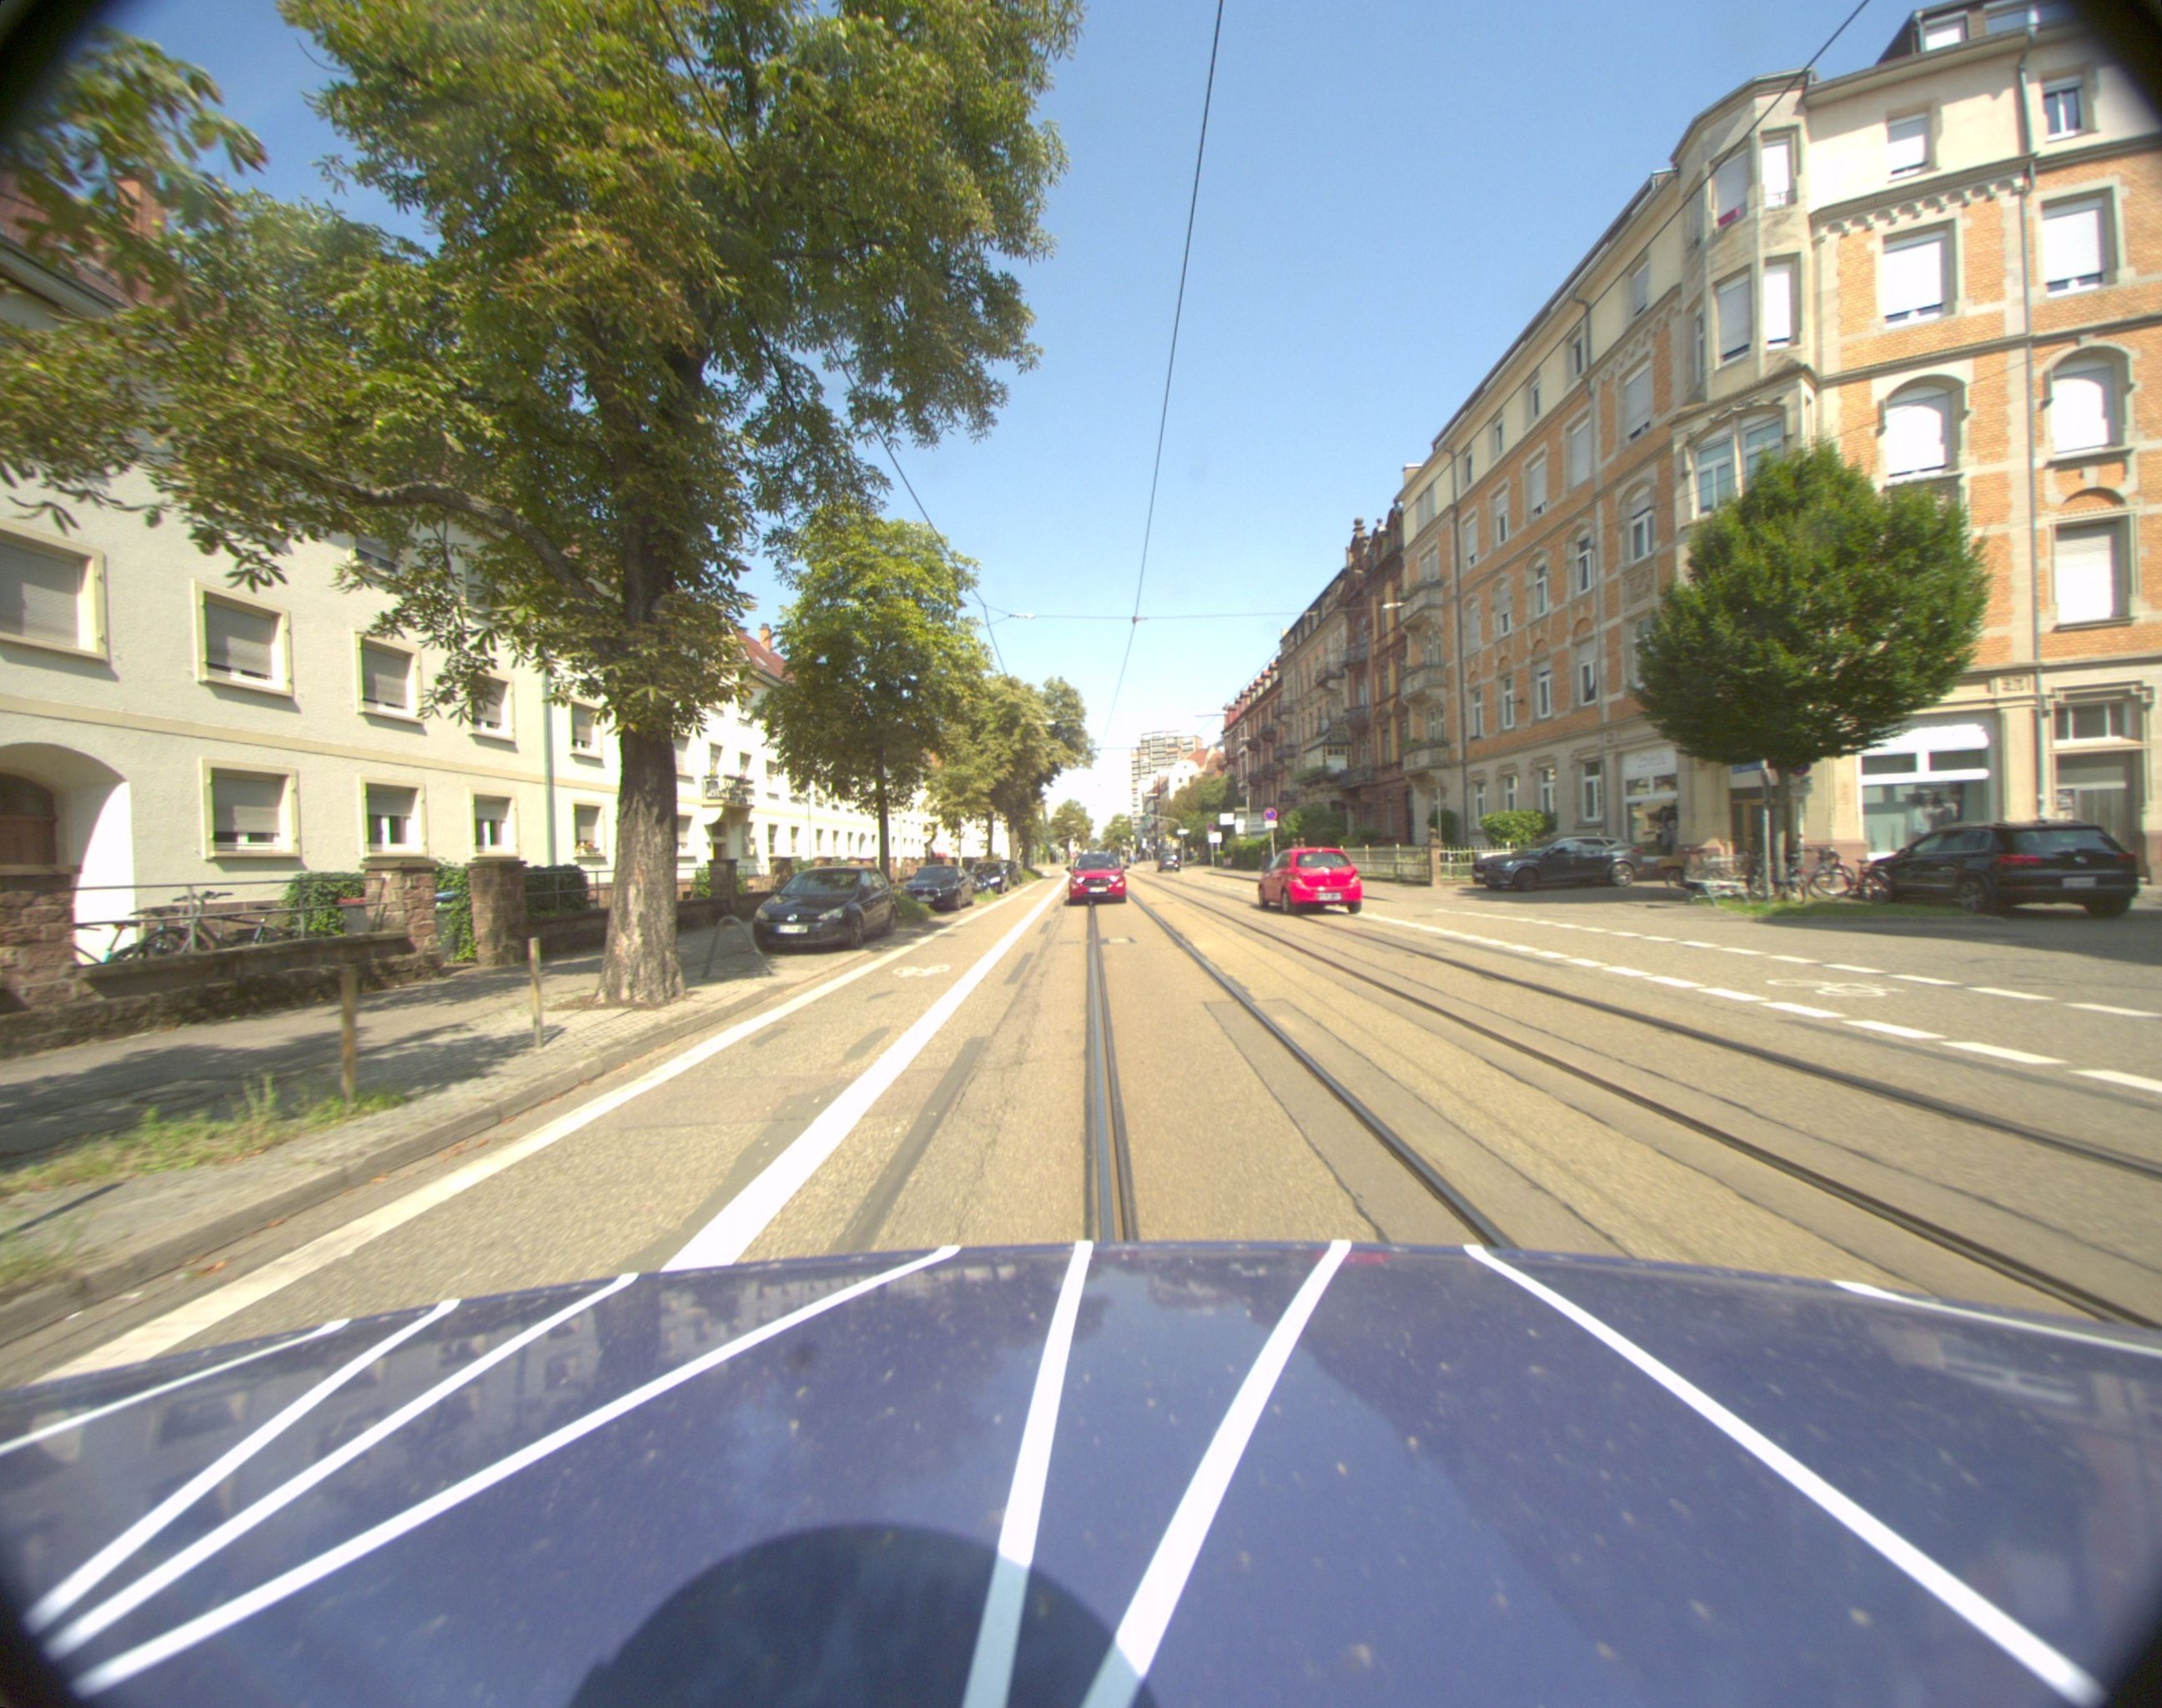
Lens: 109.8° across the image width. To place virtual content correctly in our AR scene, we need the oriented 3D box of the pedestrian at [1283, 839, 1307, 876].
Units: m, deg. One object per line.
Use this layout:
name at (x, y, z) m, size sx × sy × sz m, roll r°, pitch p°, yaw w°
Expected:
pedestrian at (10.546, 0.168, 37.442) m, size 0.885 × 1.746 × 0.870 m, roll -2°, pitch 1°, yaw 1°

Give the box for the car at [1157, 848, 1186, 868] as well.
car at (7.184, 0.330, 60.806) m, size 1.831 × 1.531 × 4.000 m, roll -1°, pitch 0°, yaw 0°

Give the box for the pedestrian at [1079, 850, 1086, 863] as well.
pedestrian at (0.164, 0.394, 108.355) m, size 0.676 × 1.874 × 0.921 m, roll -2°, pitch 1°, yaw -19°

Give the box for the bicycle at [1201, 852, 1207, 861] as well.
bicycle at (13.304, 0.251, 82.136) m, size 0.488 × 0.936 × 1.657 m, roll -2°, pitch 0°, yaw 4°

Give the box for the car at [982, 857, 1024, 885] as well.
car at (-4.481, 0.939, 43.858) m, size 1.620 × 1.521 × 3.500 m, roll -1°, pitch 1°, yaw 7°

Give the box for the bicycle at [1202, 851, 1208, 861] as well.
bicycle at (13.112, 0.229, 80.349) m, size 0.488 × 0.980 × 1.657 m, roll -2°, pitch 0°, yaw 4°

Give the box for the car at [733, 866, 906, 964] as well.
car at (-4.770, 1.035, 14.607) m, size 1.760 × 1.468 × 4.386 m, roll -2°, pitch 0°, yaw 0°

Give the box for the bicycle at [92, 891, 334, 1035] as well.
bicycle at (-9.585, 1.130, 8.522) m, size 0.457 × 1.325 × 1.892 m, roll -2°, pitch 1°, yaw 1°

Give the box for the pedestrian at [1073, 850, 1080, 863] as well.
pedestrian at (-0.677, 0.331, 114.419) m, size 0.674 × 1.874 × 0.923 m, roll -2°, pitch 0°, yaw 11°

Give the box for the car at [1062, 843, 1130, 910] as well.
car at (0.506, 0.645, 23.398) m, size 1.802 × 1.801 × 4.417 m, roll -3°, pitch 0°, yaw 2°

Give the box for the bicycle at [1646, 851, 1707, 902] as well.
bicycle at (13.594, 0.504, 17.353) m, size 1.453 × 1.092 × 0.390 m, roll -3°, pitch 0°, yaw -22°

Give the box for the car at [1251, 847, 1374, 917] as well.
car at (5.418, 0.600, 18.342) m, size 1.736 × 1.481 × 4.000 m, roll -1°, pitch 0°, yaw 0°

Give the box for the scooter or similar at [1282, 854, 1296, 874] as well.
scooter or similar at (10.358, 0.504, 37.831) m, size 0.401 × 0.977 × 0.584 m, roll -3°, pitch 1°, yaw -7°

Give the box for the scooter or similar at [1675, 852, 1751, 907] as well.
scooter or similar at (13.291, 0.520, 16.018) m, size 0.597 × 1.092 × 1.390 m, roll -3°, pitch 0°, yaw 11°

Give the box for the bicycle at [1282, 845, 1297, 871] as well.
bicycle at (11.586, 0.231, 42.217) m, size 0.391 × 1.397 × 1.582 m, roll -2°, pitch 0°, yaw 2°

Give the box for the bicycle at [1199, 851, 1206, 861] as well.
bicycle at (13.597, 0.216, 85.016) m, size 0.488 × 1.015 × 1.778 m, roll -2°, pitch 0°, yaw 4°

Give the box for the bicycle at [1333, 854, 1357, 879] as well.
bicycle at (11.364, 0.539, 32.715) m, size 0.391 × 1.032 × 1.833 m, roll -2°, pitch 0°, yaw 2°

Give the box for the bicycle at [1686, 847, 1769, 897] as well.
bicycle at (15.069, 0.415, 17.731) m, size 1.449 × 1.092 × 0.391 m, roll -3°, pitch 0°, yaw 12°

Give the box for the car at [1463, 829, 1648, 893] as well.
car at (13.604, 0.187, 21.987) m, size 4.111 × 1.585 × 1.879 m, roll -3°, pitch 1°, yaw 2°

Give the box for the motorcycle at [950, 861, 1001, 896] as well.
motorcycle at (-4.395, 1.026, 31.810) m, size 2.009 × 1.360 × 0.782 m, roll -2°, pitch 1°, yaw -2°

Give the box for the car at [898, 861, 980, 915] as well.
car at (-4.555, 1.044, 25.056) m, size 1.760 × 1.469 × 4.457 m, roll 1°, pitch 1°, yaw 1°

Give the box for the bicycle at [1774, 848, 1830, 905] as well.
bicycle at (14.747, 0.437, 15.575) m, size 0.389 × 1.092 × 1.454 m, roll -2°, pitch 0°, yaw 26°

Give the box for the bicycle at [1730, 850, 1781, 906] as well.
bicycle at (14.143, 0.482, 15.958) m, size 0.389 × 1.092 × 1.454 m, roll -2°, pitch 0°, yaw 26°

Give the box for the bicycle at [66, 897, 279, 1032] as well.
bicycle at (-10.042, 1.166, 8.488) m, size 0.403 × 1.250 × 1.580 m, roll -2°, pitch 1°, yaw 1°

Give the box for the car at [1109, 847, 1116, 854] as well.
car at (8.902, -1.001, 215.962) m, size 1.998 × 1.716 × 4.632 m, roll -1°, pitch 0°, yaw 3°

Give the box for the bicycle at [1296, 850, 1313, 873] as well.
bicycle at (11.342, 0.363, 38.529) m, size 0.391 × 1.141 × 1.582 m, roll -2°, pitch 0°, yaw 2°

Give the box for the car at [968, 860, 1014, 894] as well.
car at (-4.188, 1.025, 35.858) m, size 1.621 × 1.468 × 4.039 m, roll -1°, pitch 0°, yaw 1°

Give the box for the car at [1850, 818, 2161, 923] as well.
car at (17.199, 0.244, 14.475) m, size 1.995 × 1.679 × 4.366 m, roll -1°, pitch 1°, yaw 22°
